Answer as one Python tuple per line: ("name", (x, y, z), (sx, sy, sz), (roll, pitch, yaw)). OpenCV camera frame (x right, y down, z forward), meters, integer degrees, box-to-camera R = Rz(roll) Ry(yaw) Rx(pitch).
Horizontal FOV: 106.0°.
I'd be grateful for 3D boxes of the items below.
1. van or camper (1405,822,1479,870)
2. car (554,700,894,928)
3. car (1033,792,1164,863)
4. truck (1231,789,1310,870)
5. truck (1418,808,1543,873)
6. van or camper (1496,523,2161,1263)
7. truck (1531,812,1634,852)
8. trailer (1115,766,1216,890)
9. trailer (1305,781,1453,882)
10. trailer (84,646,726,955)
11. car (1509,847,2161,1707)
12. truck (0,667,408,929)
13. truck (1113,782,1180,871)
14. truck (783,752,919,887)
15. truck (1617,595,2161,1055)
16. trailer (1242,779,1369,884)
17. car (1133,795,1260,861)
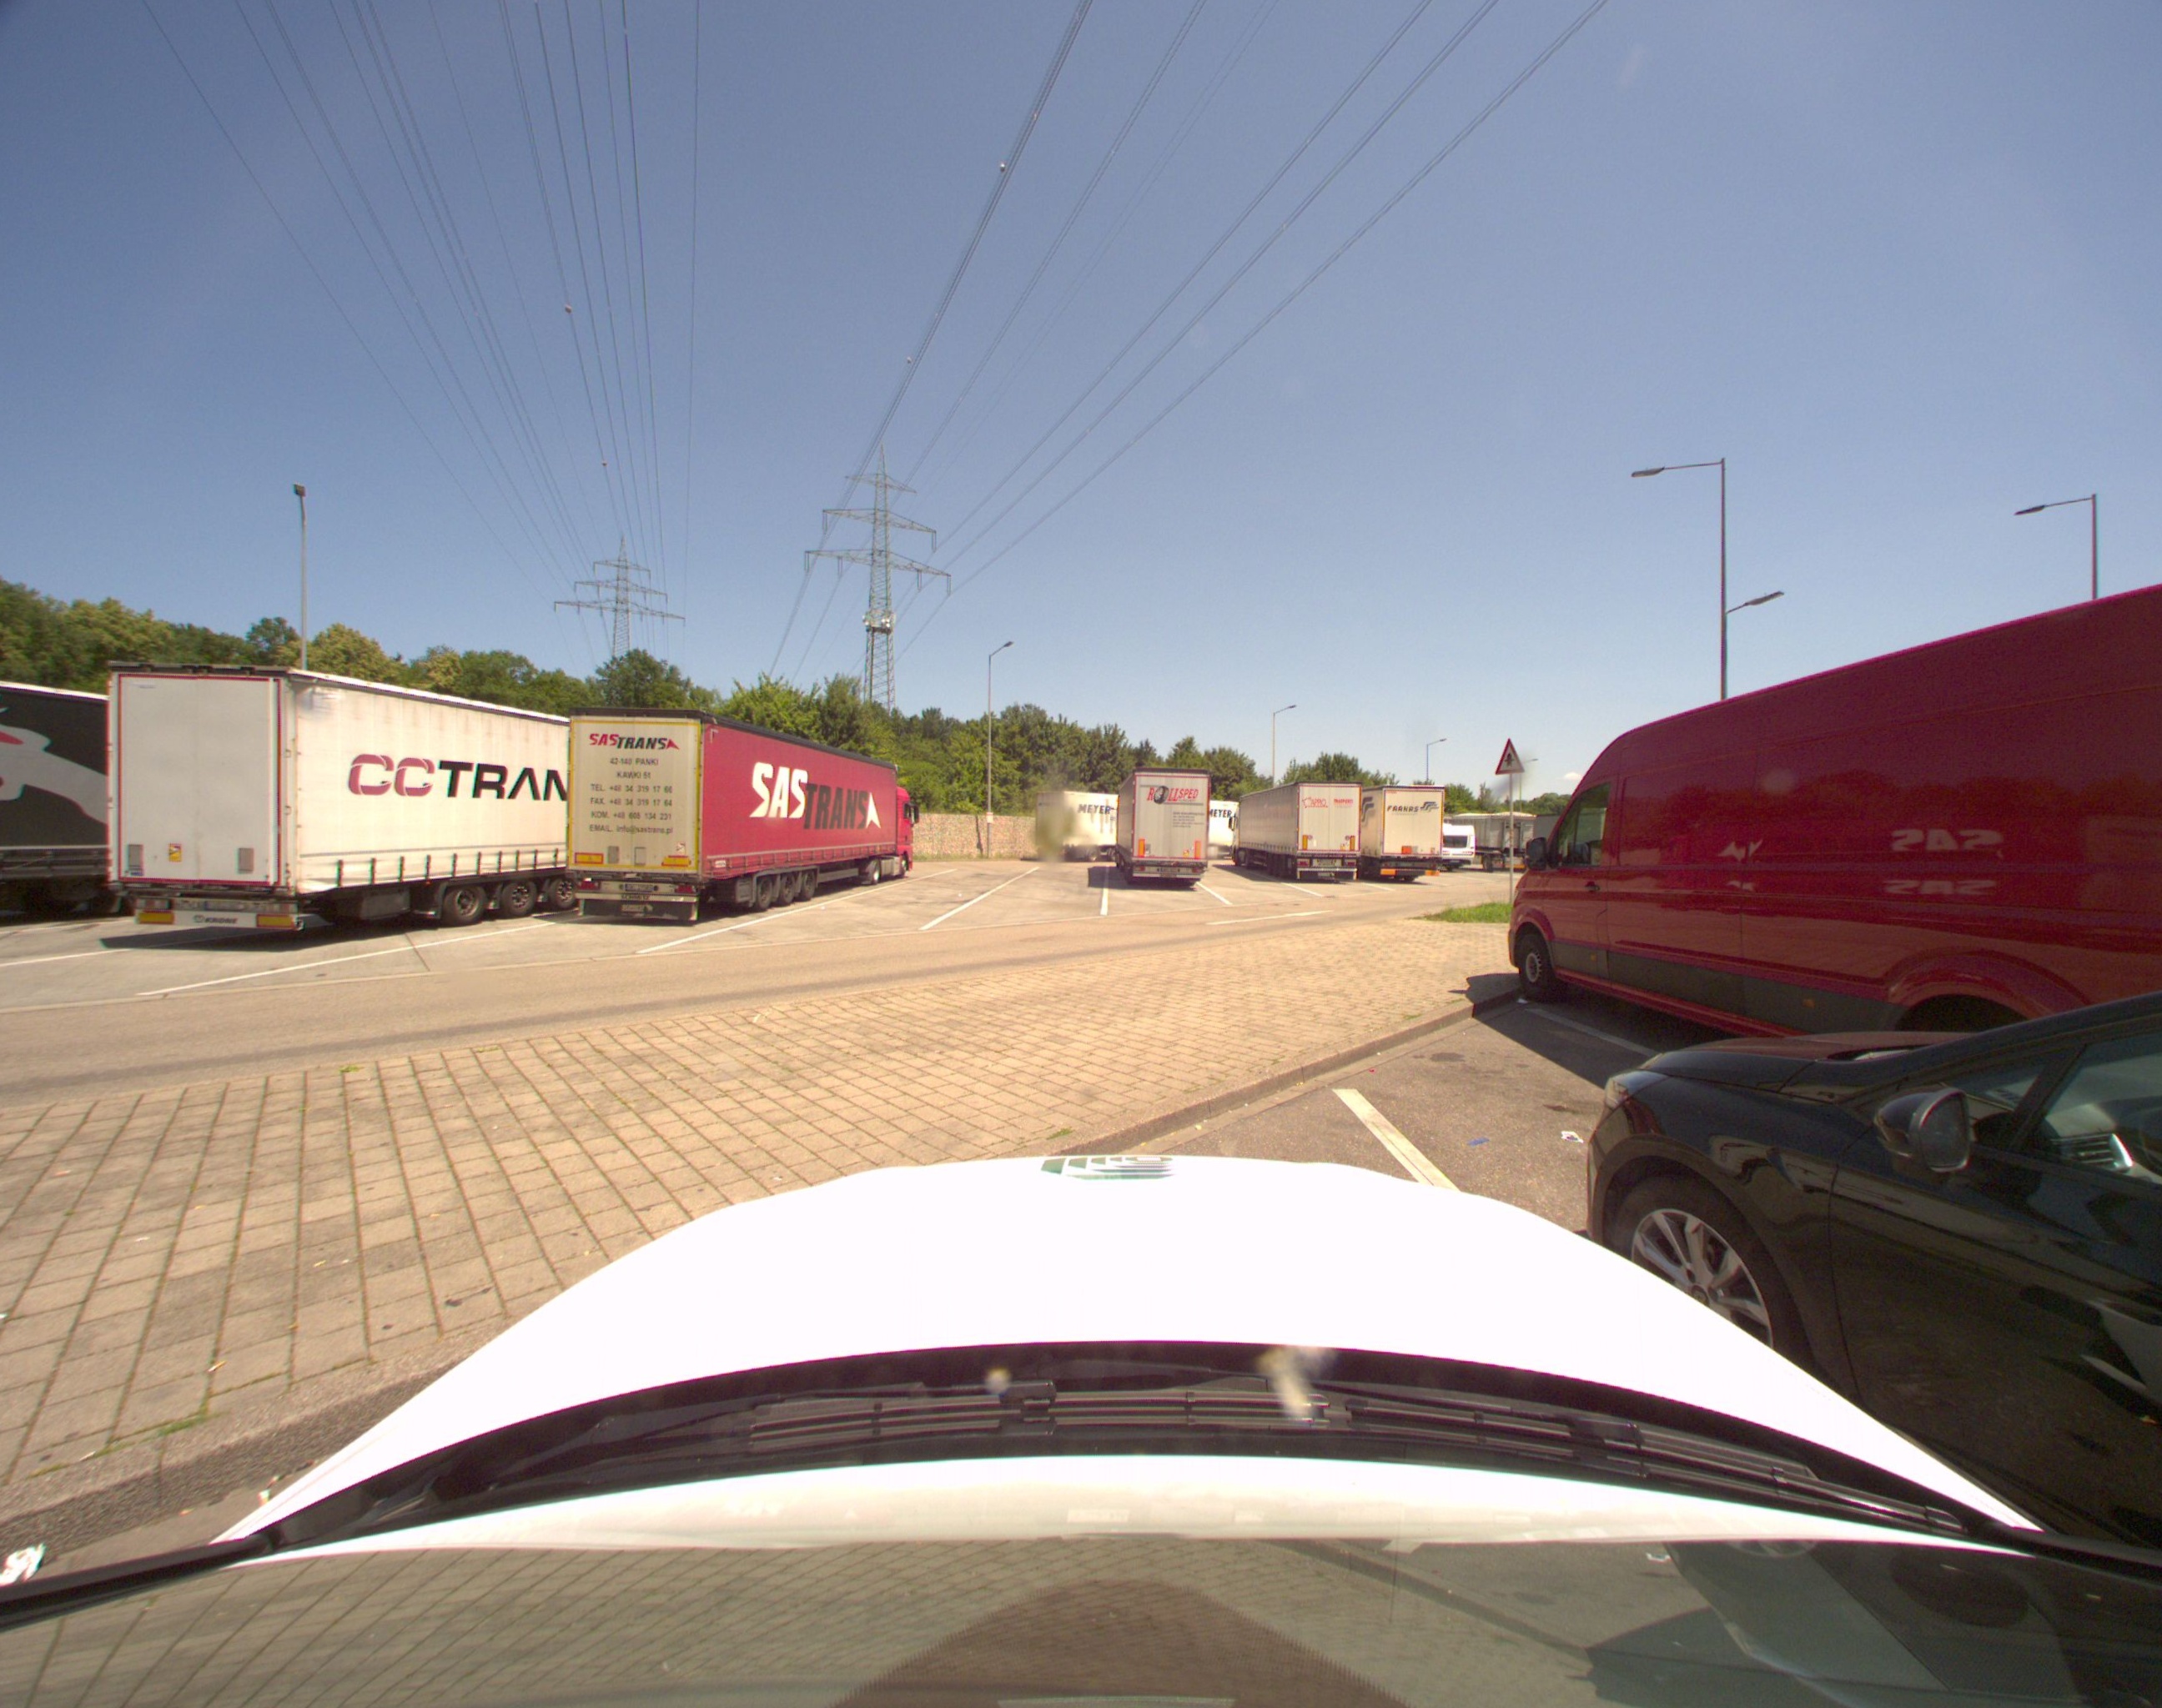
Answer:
("van or camper", (20.599, -0.469, 46.691), (2.096, 2.561, 5.376), (-1, 1, 3))
("car", (-8.049, -0.938, 21.394), (2.686, 4.112, 12.943), (1, 2, 2))
("car", (1.224, -1.608, 49.999), (8.514, 4.043, 2.657), (-1, 3, -42))
("truck", (10.188, -1.370, 44.488), (2.856, 4.037, 6.960), (0, 2, 2))
("truck", (24.310, -0.960, 50.449), (2.478, 3.568, 11.429), (0, 2, 2))
("van or camper", (5.132, 0.095, 5.448), (1.986, 2.654, 6.490), (-1, 1, 6))
("truck", (38.049, -1.647, 62.322), (2.117, 2.820, 9.783), (-1, 1, 2))
("trailer", (3.050, -1.107, 33.686), (2.857, 4.037, 14.244), (0, 2, 1))
("trailer", (13.648, -1.126, 38.830), (2.855, 4.037, 12.445), (0, 2, 2))
("trailer", (-12.164, -0.979, 17.752), (2.803, 4.266, 12.947), (0, 2, 2))
("car", (2.447, 0.750, 1.098), (1.612, 1.483, 3.762), (-1, 1, -4))
("truck", (-18.620, -1.026, 16.235), (2.803, 4.190, 8.793), (0, 2, 2))
("truck", (3.145, -1.396, 40.774), (2.857, 4.037, 7.029), (0, 2, 1))
("truck", (-7.747, -1.156, 28.310), (2.686, 4.112, 6.243), (1, 2, 2))
("truck", (7.933, -0.216, 7.020), (2.455, 2.792, 6.978), (0, 1, 4))
("trailer", (9.960, -1.106, 37.856), (2.855, 4.037, 12.445), (0, 2, 2))
("car", (8.180, -1.758, 56.346), (10.272, 4.188, 2.657), (-1, 3, -42))
